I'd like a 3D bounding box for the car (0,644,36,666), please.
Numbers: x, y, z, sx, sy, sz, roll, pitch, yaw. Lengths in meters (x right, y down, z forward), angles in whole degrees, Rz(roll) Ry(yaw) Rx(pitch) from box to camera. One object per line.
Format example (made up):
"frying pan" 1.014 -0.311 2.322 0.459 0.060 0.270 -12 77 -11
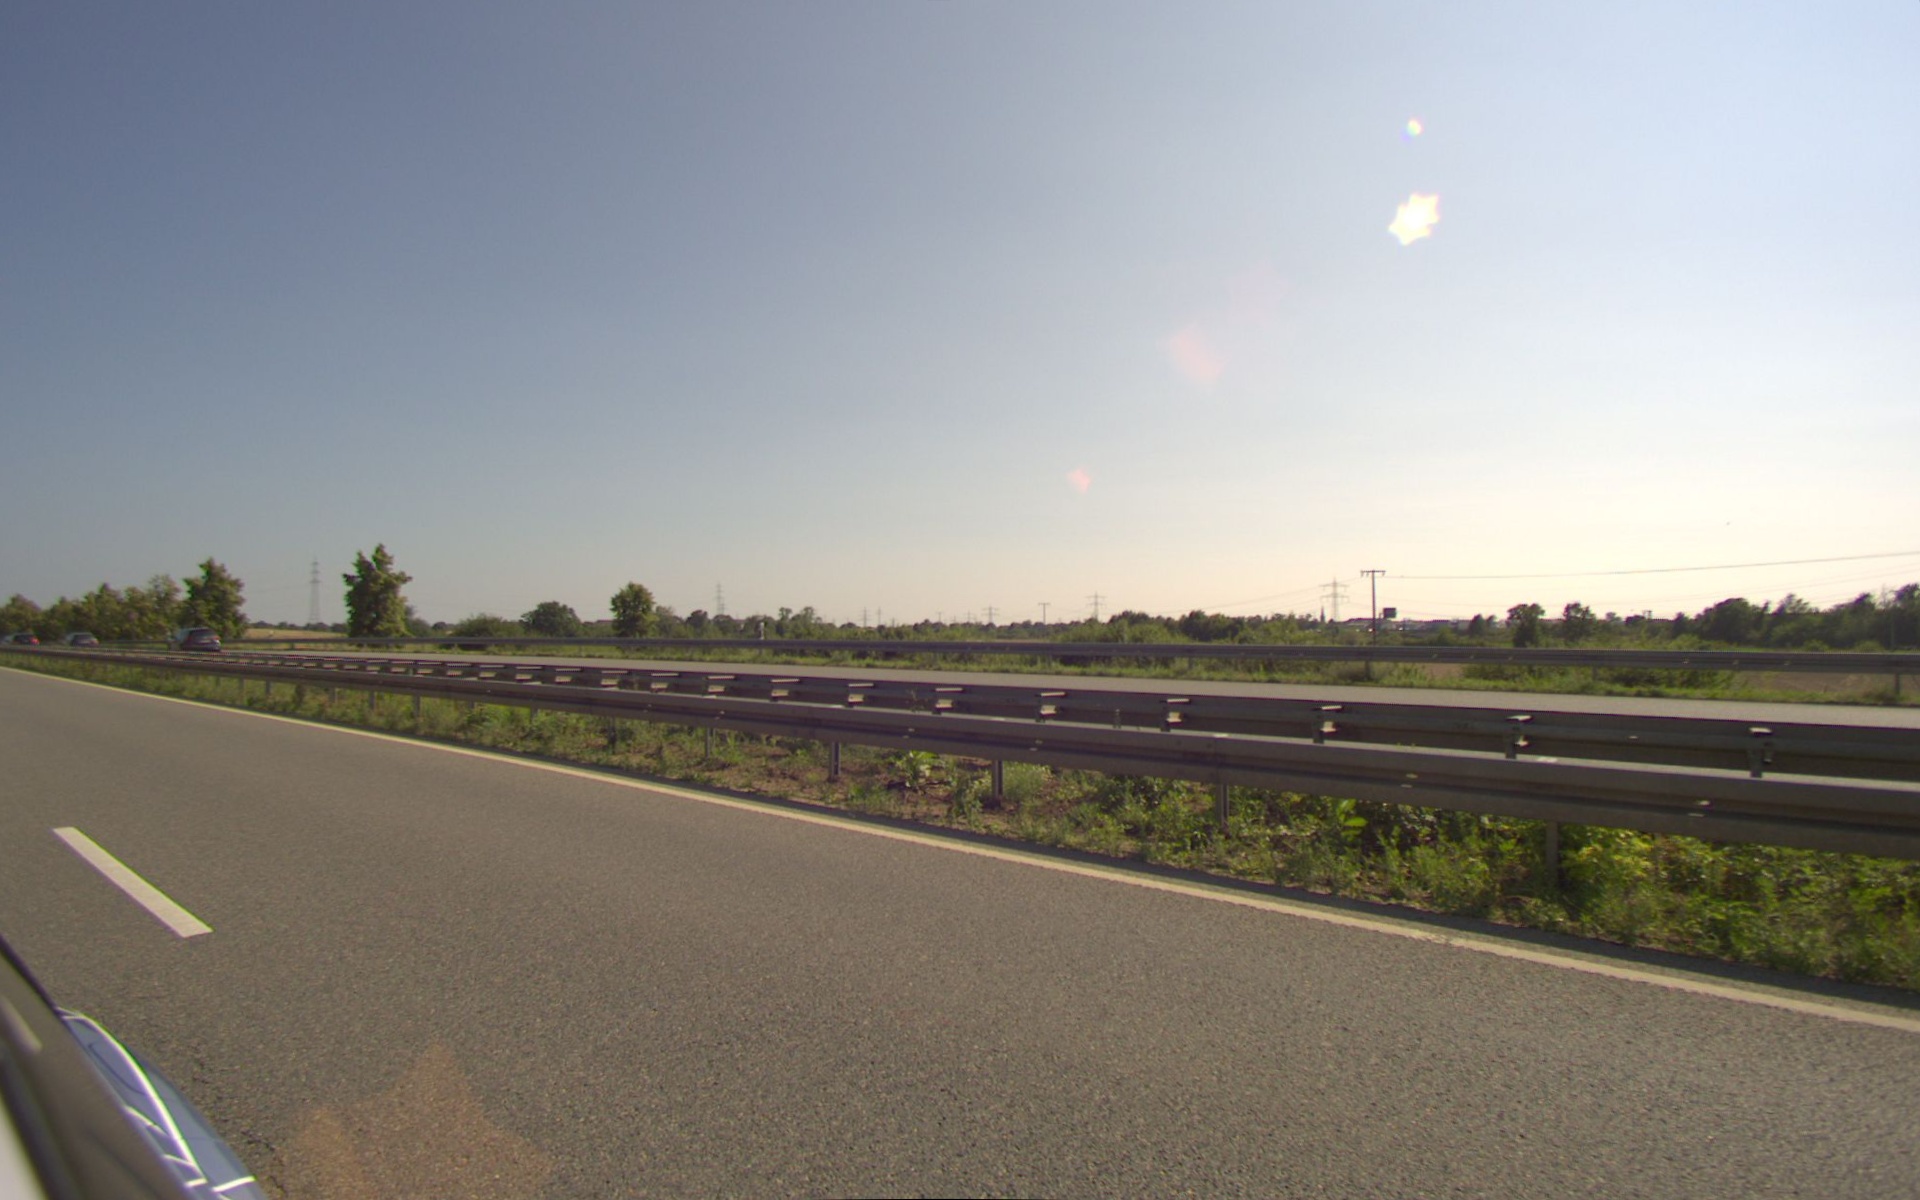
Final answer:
"car" -70.178 4.082 75.169 4.321 1.484 1.796 -3 -1 41

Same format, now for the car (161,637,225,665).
"car" -42.936 2.832 56.623 4.932 1.445 1.848 -2 0 41

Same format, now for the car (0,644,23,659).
"car" -98.715 5.311 105.007 4.413 1.406 1.802 -2 0 42

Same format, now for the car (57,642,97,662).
"car" -67.878 3.983 77.755 4.319 1.461 1.696 -2 -2 40
